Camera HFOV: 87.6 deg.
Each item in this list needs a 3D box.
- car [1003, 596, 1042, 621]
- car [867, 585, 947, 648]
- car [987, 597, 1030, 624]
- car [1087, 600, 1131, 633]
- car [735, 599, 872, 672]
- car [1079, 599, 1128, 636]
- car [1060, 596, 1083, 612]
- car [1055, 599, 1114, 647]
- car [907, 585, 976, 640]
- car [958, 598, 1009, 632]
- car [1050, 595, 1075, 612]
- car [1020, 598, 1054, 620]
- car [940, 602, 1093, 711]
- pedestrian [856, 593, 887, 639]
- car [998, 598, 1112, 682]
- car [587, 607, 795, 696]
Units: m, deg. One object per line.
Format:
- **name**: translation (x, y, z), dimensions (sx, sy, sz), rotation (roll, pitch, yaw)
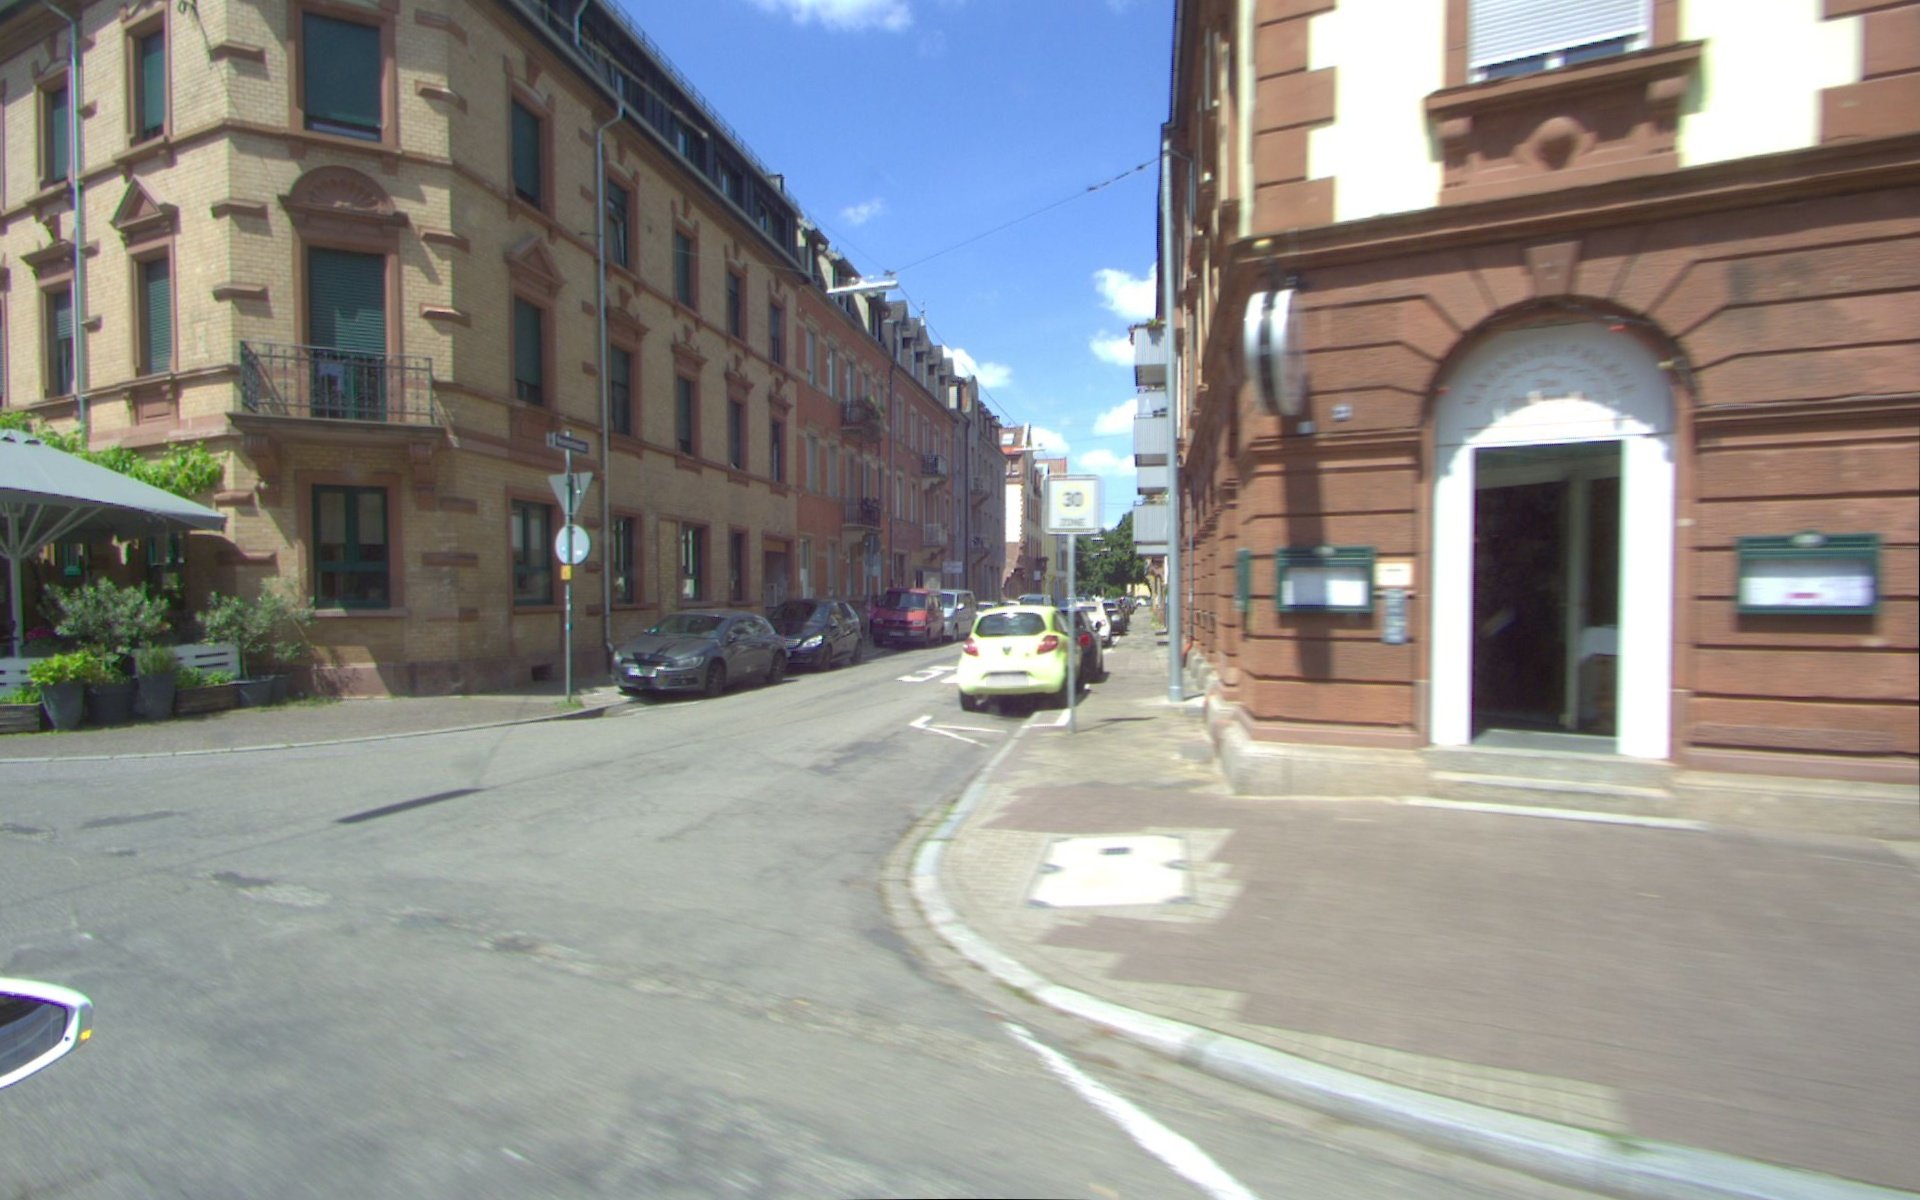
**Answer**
- **car**: translation (4.079, 0.515, 64.743), dimensions (1.880, 1.557, 4.132), rotation (1, 0, 12)
- **car**: translation (-1.732, 0.515, 34.205), dimensions (1.982, 1.989, 4.522), rotation (1, 0, 6)
- **car**: translation (2.933, 0.598, 59.438), dimensions (1.880, 1.557, 4.132), rotation (1, 0, 12)
- **car**: translation (7.302, 0.767, 48.863), dimensions (1.771, 1.498, 3.996), rotation (-2, 0, 13)
- **car**: translation (-3.606, 0.762, 23.860), dimensions (1.880, 1.557, 4.132), rotation (1, 0, 12)
- **car**: translation (6.356, 0.745, 44.031), dimensions (1.771, 1.498, 3.996), rotation (-2, 0, 13)
- **car**: translation (11.565, 0.387, 103.593), dimensions (1.880, 1.557, 4.132), rotation (1, 0, 12)
- **car**: translation (4.248, 0.742, 33.829), dimensions (1.698, 1.498, 3.997), rotation (-2, 0, 11)
- **car**: translation (-0.655, 0.461, 39.317), dimensions (1.982, 1.989, 4.521), rotation (1, 0, 8)
- **car**: translation (1.208, 0.715, 49.107), dimensions (1.880, 1.557, 4.133), rotation (1, 0, 10)
- **car**: translation (9.684, 0.340, 93.989), dimensions (1.880, 1.557, 4.132), rotation (1, 0, 12)
- **car**: translation (5.547, 0.633, 72.134), dimensions (1.880, 1.557, 4.132), rotation (1, 0, 12)
- **car**: translation (1.043, 0.817, 16.095), dimensions (1.771, 1.498, 3.996), rotation (-2, 0, 13)
- **pedestrian**: translation (-3.189, 0.571, 36.060), dimensions (0.913, 1.642, 0.805), rotation (1, 1, 10)
- **car**: translation (2.026, 0.749, 20.337), dimensions (1.771, 1.498, 3.996), rotation (-2, 0, 13)
- **car**: translation (-4.692, 0.834, 18.122), dimensions (1.881, 1.383, 3.995), rotation (1, 0, 15)
